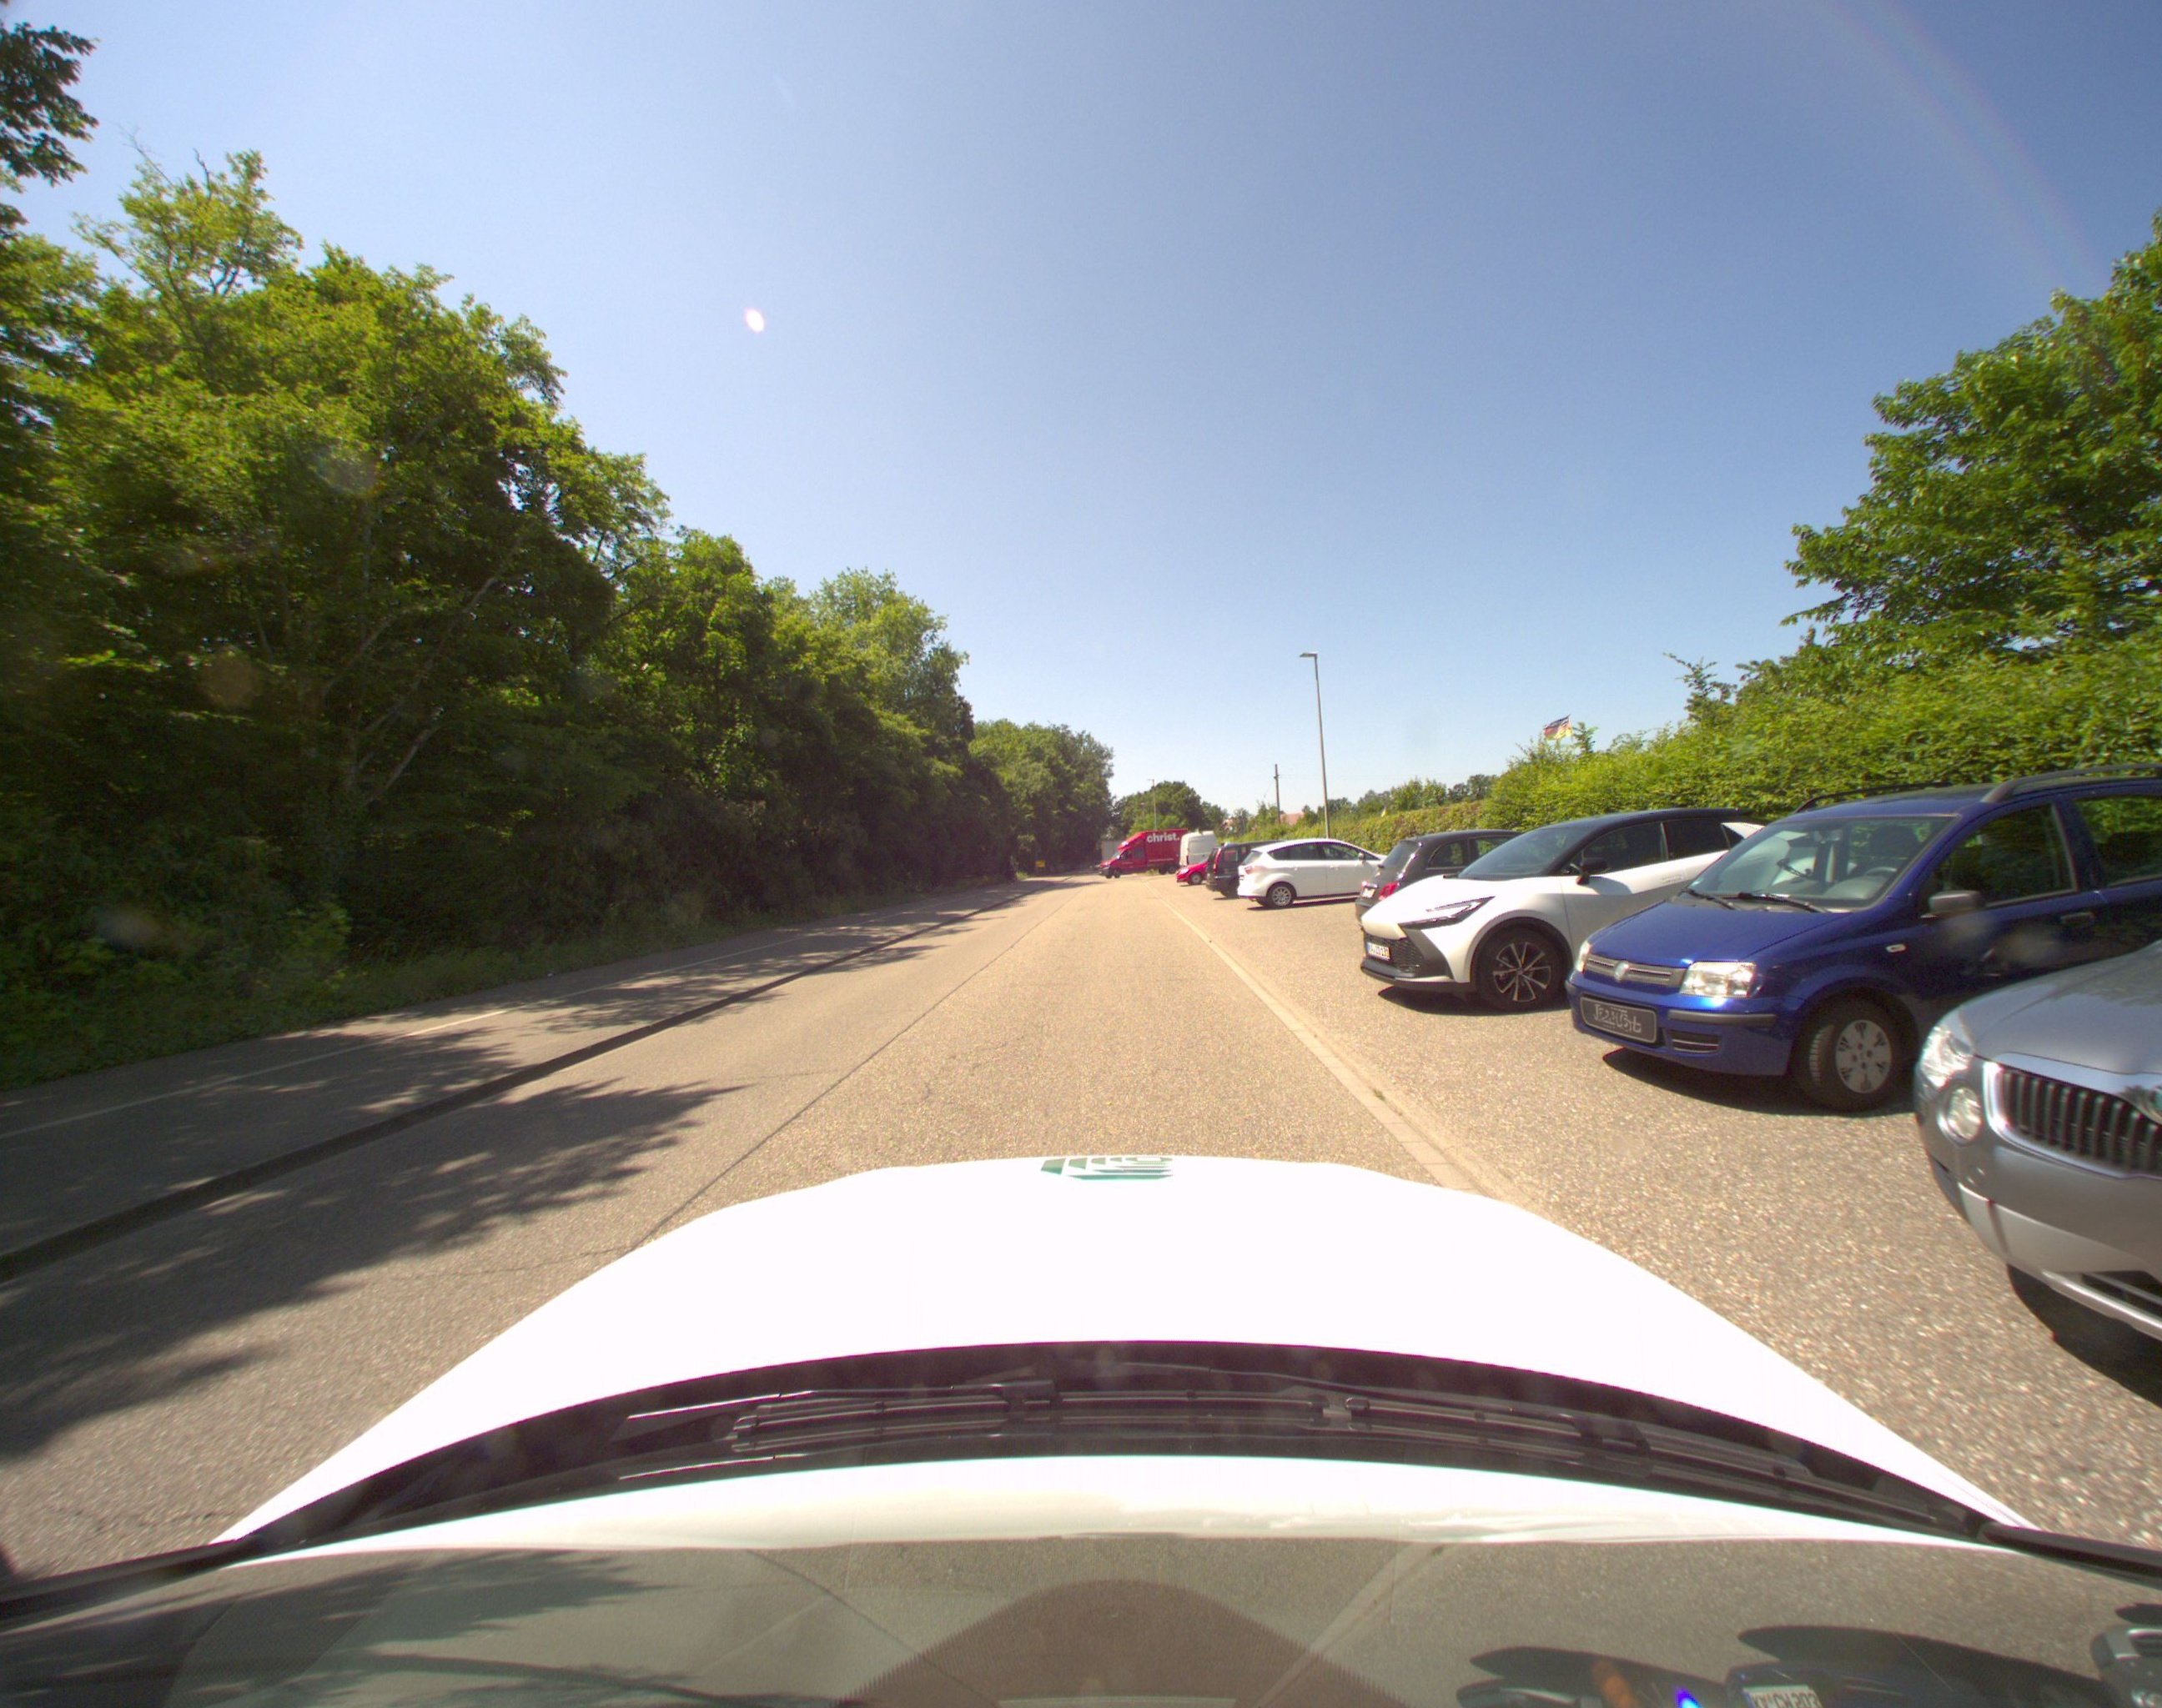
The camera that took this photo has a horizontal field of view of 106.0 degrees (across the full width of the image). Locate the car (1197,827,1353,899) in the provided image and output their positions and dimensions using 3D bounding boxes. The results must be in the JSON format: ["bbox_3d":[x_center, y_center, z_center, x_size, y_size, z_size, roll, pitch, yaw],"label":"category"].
[{"bbox_3d":[6.219,0.300,26.434,4.442,1.804,1.951,-6,-1,-2],"label":"car"}]

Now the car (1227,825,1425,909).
[{"bbox_3d":[5.981,0.320,20.230,4.262,1.578,1.765,-6,0,0],"label":"car"}]

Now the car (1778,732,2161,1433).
[{"bbox_3d":[4.418,0.320,1.992,3.951,1.640,1.662,-7,0,-3],"label":"car"}]

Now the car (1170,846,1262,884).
[{"bbox_3d":[6.481,0.519,39.298,4.042,1.434,1.835,-6,0,-1],"label":"car"}]

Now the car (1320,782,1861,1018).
[{"bbox_3d":[4.617,0.375,7.800,3.955,1.522,1.862,-7,0,-4],"label":"car"}]

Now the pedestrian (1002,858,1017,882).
[{"bbox_3d":[-5.442,1.218,61.927,0.801,1.718,0.780,-3,-1,18],"label":"pedestrian"}]

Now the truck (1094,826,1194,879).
[{"bbox_3d":[4.860,-0.155,62.787,7.150,3.439,2.318,-5,1,-15],"label":"truck"}]

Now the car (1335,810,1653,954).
[{"bbox_3d":[5.357,0.354,10.921,3.371,1.503,1.590,-5,0,5],"label":"car"}]

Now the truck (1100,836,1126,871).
[{"bbox_3d":[3.861,-0.041,95.605,2.722,3.746,13.256,-2,-1,3],"label":"truck"}]

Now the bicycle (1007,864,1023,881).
[{"bbox_3d":[-5.025,1.392,62.009,0.517,1.236,1.968,-2,-1,15],"label":"bicycle"}]

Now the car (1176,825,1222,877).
[{"bbox_3d":[7.107,-0.179,49.809,1.946,2.733,7.174,-6,0,3],"label":"car"}]

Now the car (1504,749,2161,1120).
[{"bbox_3d":[4.704,0.350,4.877,3.445,1.527,1.538,-7,0,-3],"label":"car"}]
